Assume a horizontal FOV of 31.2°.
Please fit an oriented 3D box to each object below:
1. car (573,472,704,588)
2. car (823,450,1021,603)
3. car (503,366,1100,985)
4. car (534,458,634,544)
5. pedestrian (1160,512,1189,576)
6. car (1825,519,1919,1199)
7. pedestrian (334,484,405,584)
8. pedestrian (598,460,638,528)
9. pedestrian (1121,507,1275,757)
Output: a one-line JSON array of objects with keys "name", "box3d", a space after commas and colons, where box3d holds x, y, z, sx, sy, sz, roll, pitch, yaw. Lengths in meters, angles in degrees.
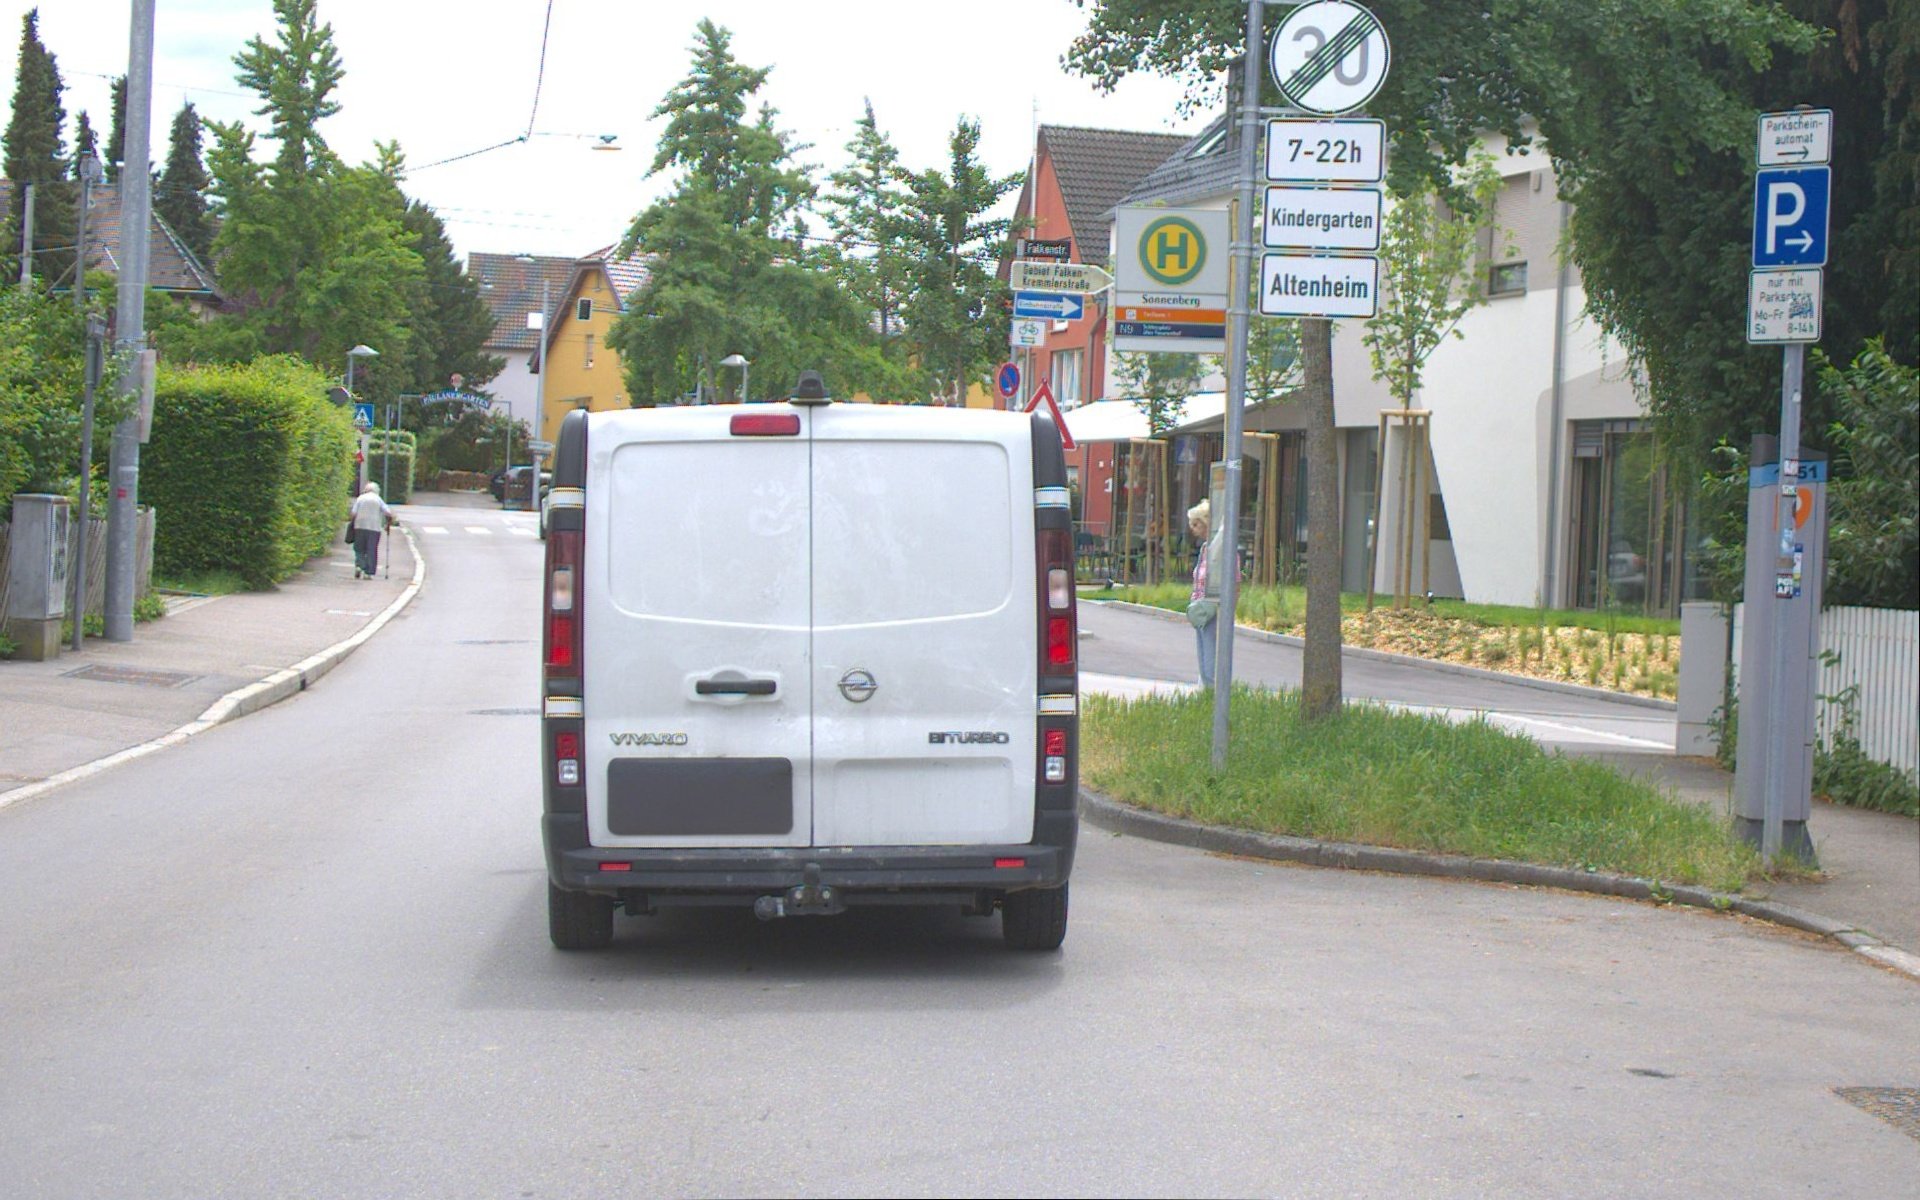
[{"name": "car", "box3d": [-5.506, -1.200, 58.489, 1.993, 1.842, 4.001, 1, 1, -8]}, {"name": "car", "box3d": [-0.604, -1.050, 48.484, 1.958, 1.909, 4.903, 4, 1, -9]}, {"name": "car", "box3d": [-0.721, 0.218, 13.543, 1.915, 1.996, 4.439, 2, 1, -5]}, {"name": "car", "box3d": [-8.197, -2.145, 74.711, 1.993, 1.776, 4.001, 1, 1, -8]}, {"name": "pedestrian", "box3d": [3.985, -1.043, 63.797, 0.421, 1.178, 0.324, 2, 1, -10]}, {"name": "car", "box3d": [2.497, 0.701, 3.978, 1.759, 1.577, 4.019, 1, 1, -3]}, {"name": "pedestrian", "box3d": [-9.171, -1.021, 53.380, 0.876, 1.480, 0.455, 4, 1, -28]}, {"name": "pedestrian", "box3d": [-8.323, -2.576, 83.632, 0.804, 1.604, 0.628, 4, 1, -12]}, {"name": "pedestrian", "box3d": [1.643, 0.210, 23.834, 0.854, 1.639, 0.884, 4, 1, -2]}]
